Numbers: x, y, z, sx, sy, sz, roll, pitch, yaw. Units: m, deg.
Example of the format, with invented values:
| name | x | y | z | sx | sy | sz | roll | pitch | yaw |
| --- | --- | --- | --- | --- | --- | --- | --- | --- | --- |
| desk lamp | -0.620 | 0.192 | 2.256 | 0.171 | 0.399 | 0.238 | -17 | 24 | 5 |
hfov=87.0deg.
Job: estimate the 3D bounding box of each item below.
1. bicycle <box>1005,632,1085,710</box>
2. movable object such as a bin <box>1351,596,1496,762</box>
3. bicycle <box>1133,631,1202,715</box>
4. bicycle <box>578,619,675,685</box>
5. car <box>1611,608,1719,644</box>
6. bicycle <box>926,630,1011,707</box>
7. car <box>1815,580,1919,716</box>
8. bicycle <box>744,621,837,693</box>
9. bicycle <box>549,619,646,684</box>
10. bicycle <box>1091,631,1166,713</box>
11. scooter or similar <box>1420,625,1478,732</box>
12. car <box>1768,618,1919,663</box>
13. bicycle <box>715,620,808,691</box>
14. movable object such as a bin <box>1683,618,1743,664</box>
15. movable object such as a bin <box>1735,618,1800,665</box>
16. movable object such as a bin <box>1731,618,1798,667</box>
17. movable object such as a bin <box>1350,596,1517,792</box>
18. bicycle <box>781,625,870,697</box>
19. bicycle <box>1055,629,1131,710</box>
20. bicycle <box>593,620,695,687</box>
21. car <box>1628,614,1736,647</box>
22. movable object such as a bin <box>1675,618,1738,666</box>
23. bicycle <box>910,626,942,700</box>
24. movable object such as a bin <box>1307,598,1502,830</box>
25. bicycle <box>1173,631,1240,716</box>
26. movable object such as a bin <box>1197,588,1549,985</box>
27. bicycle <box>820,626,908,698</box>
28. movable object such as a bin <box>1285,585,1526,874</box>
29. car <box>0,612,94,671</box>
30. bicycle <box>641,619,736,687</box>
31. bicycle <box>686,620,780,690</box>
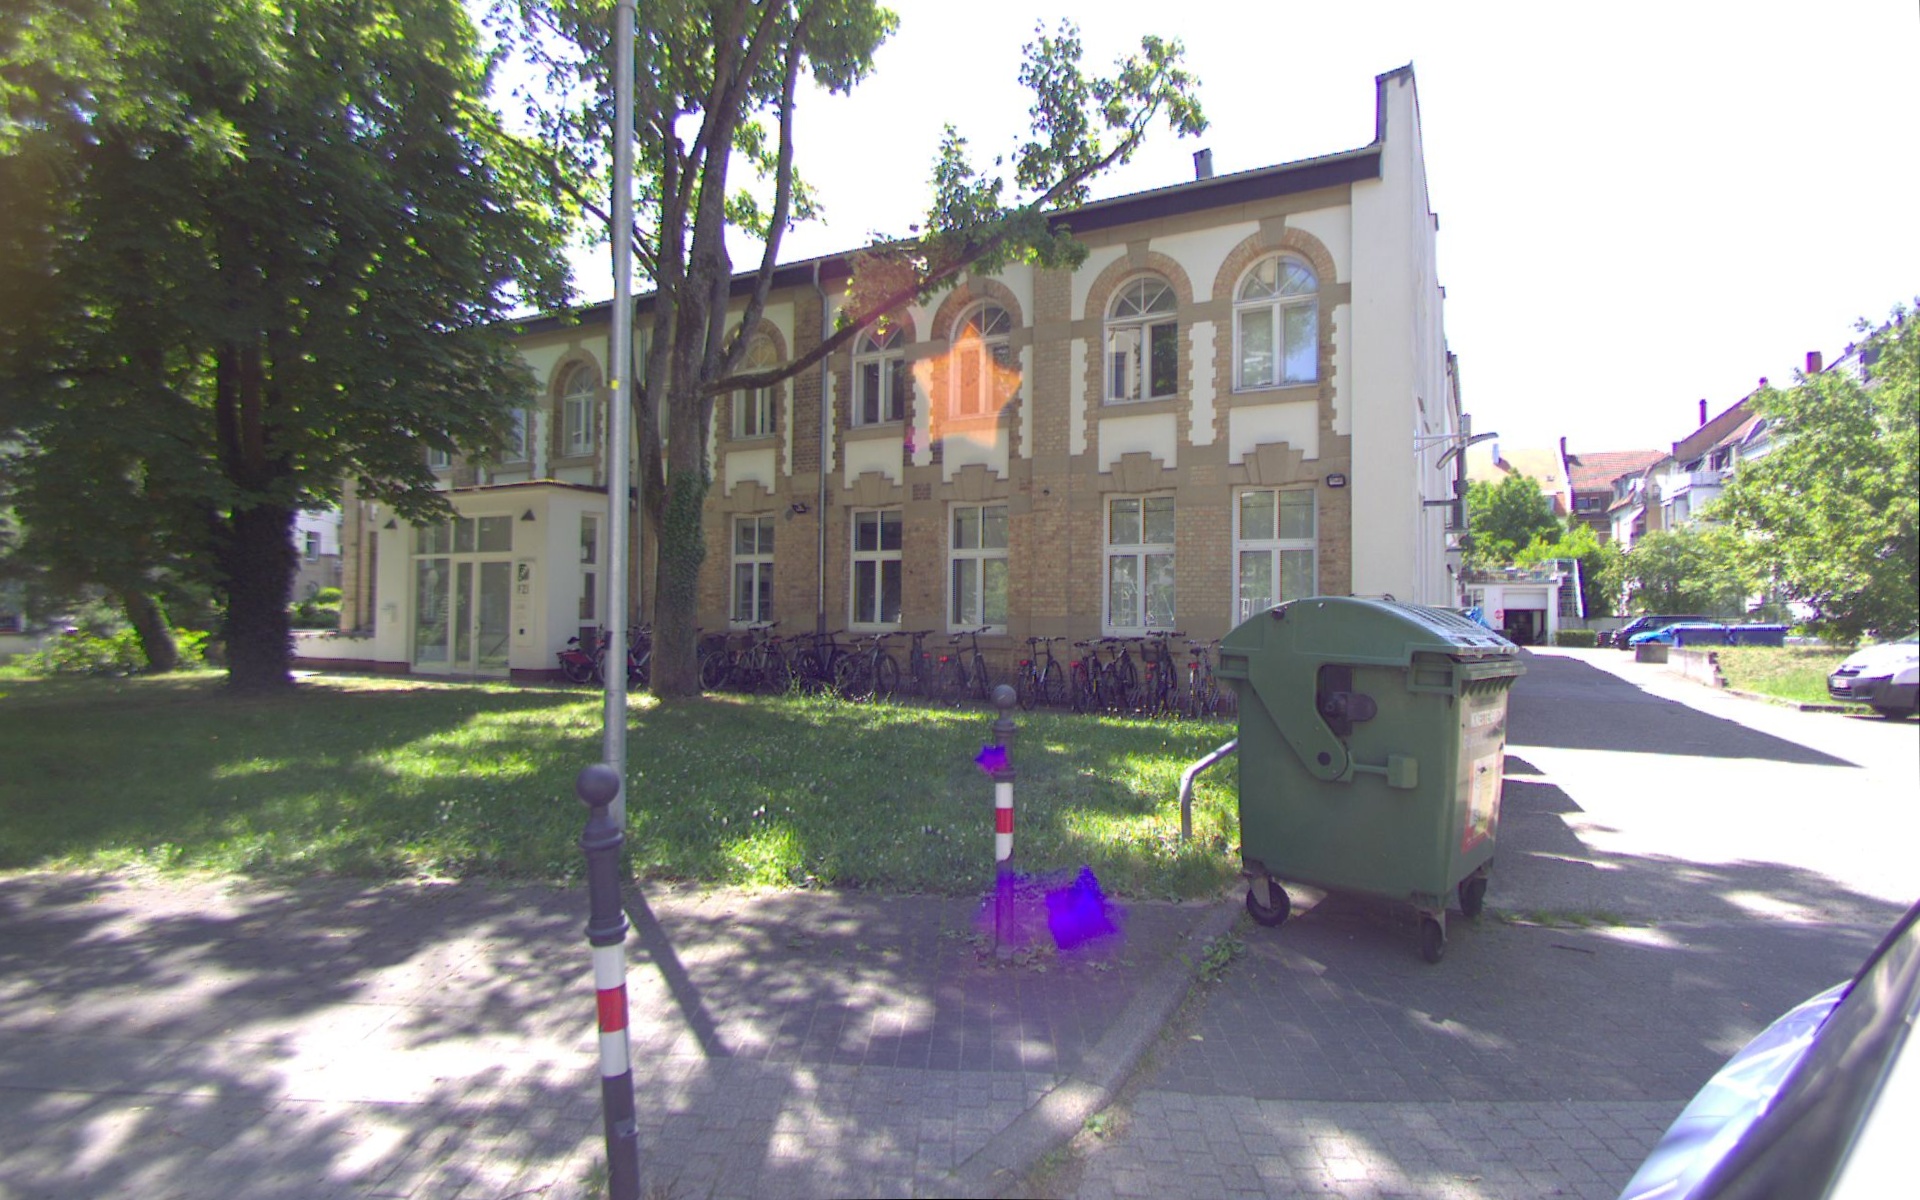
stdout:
| name | x | y | z | sx | sy | sz | roll | pitch | yaw |
| --- | --- | --- | --- | --- | --- | --- | --- | --- | --- |
| bicycle | 1.295 | 1.026 | 15.147 | 0.500 | 1.082 | 1.816 | -1 | -2 | 29 |
| movable object such as a bin | 4.581 | 0.725 | 10.136 | 1.144 | 1.524 | 1.453 | -1 | 0 | 19 |
| bicycle | 2.954 | 0.991 | 14.291 | 0.451 | 1.081 | 1.816 | -1 | -1 | 29 |
| bicycle | -6.241 | 0.949 | 19.038 | 0.584 | 1.157 | 1.823 | -1 | -1 | 29 |
| car | 37.678 | 1.368 | 54.240 | 4.405 | 1.855 | 1.982 | -1 | -1 | 26 |
| bicycle | 0.158 | 1.027 | 15.738 | 0.518 | 1.118 | 1.816 | -1 | -2 | 29 |
| car | 15.768 | 0.735 | 14.661 | 4.750 | 1.936 | 1.983 | 1 | -2 | 24 |
| bicycle | -2.884 | 0.940 | 17.412 | 0.584 | 1.157 | 1.823 | -1 | -1 | 29 |
| bicycle | -6.909 | 0.954 | 19.362 | 0.584 | 1.157 | 1.823 | -1 | -1 | 29 |
| bicycle | 2.450 | 1.000 | 14.527 | 0.500 | 1.081 | 1.816 | -1 | -1 | 29 |
| scooter or similar | 5.898 | 0.915 | 12.246 | 0.459 | 1.189 | 1.348 | 0 | -1 | 19 |
| car | 32.247 | 1.445 | 36.944 | 3.957 | 1.455 | 1.696 | 1 | -1 | 25 |
| bicycle | -3.441 | 0.933 | 17.712 | 0.584 | 1.157 | 1.823 | -1 | -1 | 29 |
| movable object such as a bin | 22.381 | 1.202 | 30.122 | 1.246 | 1.345 | 1.093 | -1 | -2 | 28 |
| movable object such as a bin | 23.543 | 1.190 | 29.537 | 1.246 | 1.345 | 1.093 | -1 | -2 | 28 |
| movable object such as a bin | 22.390 | 1.171 | 28.207 | 1.246 | 1.345 | 1.093 | -1 | -2 | 28 |
| movable object such as a bin | 3.924 | 0.717 | 8.537 | 1.169 | 1.488 | 1.302 | -1 | 0 | 22 |
| bicycle | -2.228 | 0.987 | 16.995 | 0.518 | 1.114 | 1.823 | -1 | -1 | 29 |
| bicycle | 1.977 | 0.983 | 14.836 | 0.500 | 1.081 | 1.816 | -1 | -1 | 29 |
| bicycle | -5.745 | 0.950 | 18.486 | 0.585 | 1.157 | 1.820 | -1 | -1 | 33 |
| car | 36.686 | 1.517 | 51.547 | 4.123 | 1.573 | 1.844 | 0 | -1 | 24 |
| movable object such as a bin | 21.227 | 1.183 | 28.813 | 1.246 | 1.345 | 1.093 | -1 | -2 | 28 |
| bicycle | -0.567 | 0.992 | 16.455 | 0.463 | 1.118 | 1.836 | 1 | -2 | -4 |
| movable object such as a bin | 3.209 | 0.741 | 7.366 | 1.170 | 1.488 | 1.301 | -1 | 0 | 24 |
| bicycle | 3.445 | 0.976 | 14.049 | 0.451 | 1.081 | 1.816 | -1 | -1 | 29 |
| movable object such as a bin | 1.937 | 0.701 | 4.697 | 1.177 | 1.488 | 1.314 | -1 | 0 | 39 |
| bicycle | -1.544 | 0.985 | 16.650 | 0.518 | 1.084 | 1.816 | -1 | -1 | 29 |
| movable object such as a bin | 2.620 | 0.670 | 6.062 | 1.169 | 1.488 | 1.301 | -1 | 0 | 23 |
| car | -25.393 | 1.070 | 26.743 | 1.674 | 1.483 | 3.936 | 0 | -1 | 0 |
| bicycle | -4.930 | 0.941 | 18.508 | 0.584 | 1.157 | 1.823 | -1 | -1 | 29 |
| bicycle | -4.012 | 0.943 | 18.008 | 0.584 | 1.157 | 1.823 | -1 | -1 | 29 |
